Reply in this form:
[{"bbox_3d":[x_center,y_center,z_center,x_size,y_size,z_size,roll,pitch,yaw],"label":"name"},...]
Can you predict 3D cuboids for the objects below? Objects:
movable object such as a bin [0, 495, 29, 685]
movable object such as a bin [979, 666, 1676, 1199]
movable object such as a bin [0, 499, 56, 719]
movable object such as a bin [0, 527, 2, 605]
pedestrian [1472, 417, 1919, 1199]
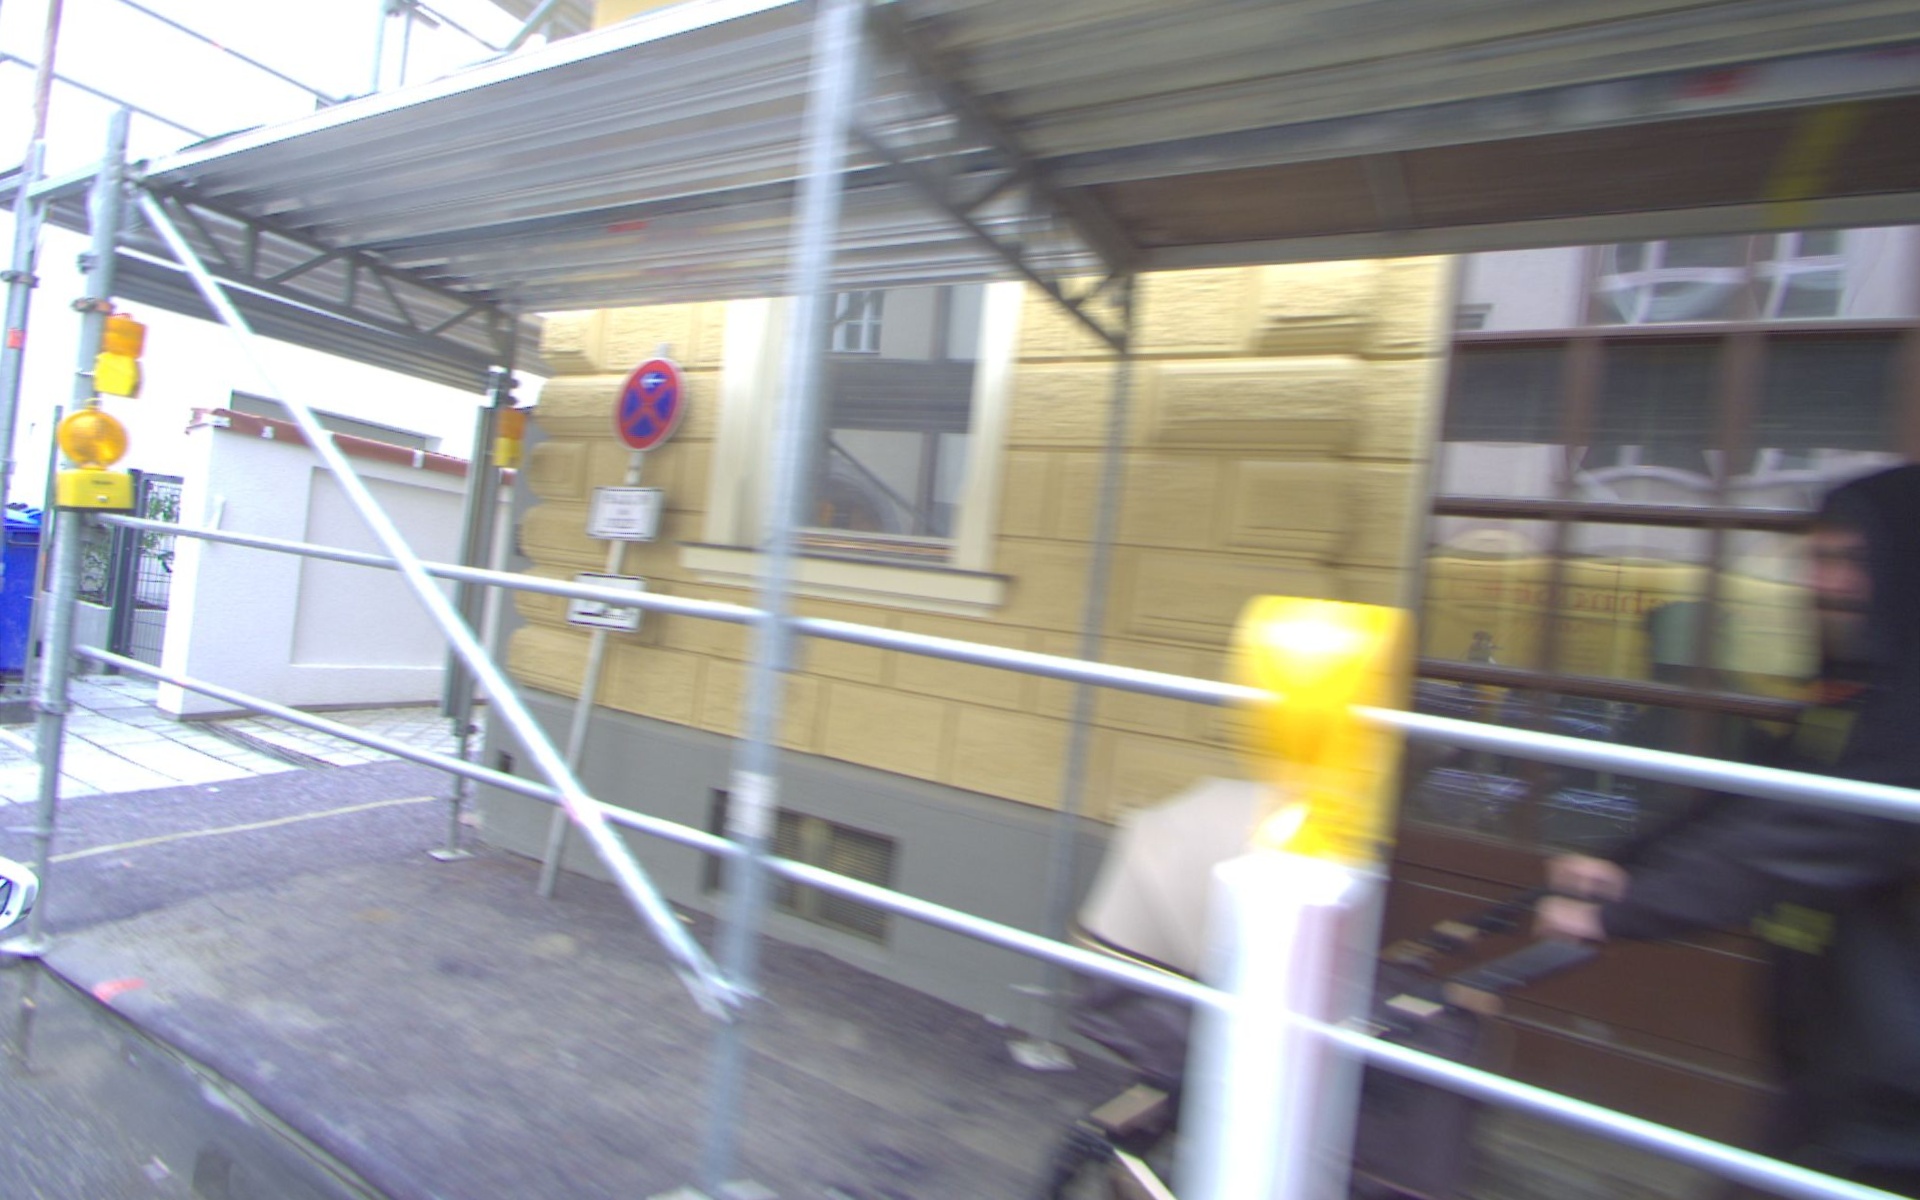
[{"bbox_3d":[-7.667,-0.125,7.332,1.154,1.364,1.123,7,4,39],"label":"movable object such as a bin"},{"bbox_3d":[0.665,0.784,1.935,0.971,1.157,0.729,7,4,30],"label":"movable object such as a bin"},{"bbox_3d":[-6.714,-0.001,6.565,1.300,1.364,1.083,8,3,43],"label":"movable object such as a bin"},{"bbox_3d":[-8.428,-0.080,7.900,0.778,1.110,1.208,8,4,39],"label":"movable object such as a bin"},{"bbox_3d":[1.377,0.681,1.535,0.971,1.777,0.729,7,4,30],"label":"pedestrian"}]
